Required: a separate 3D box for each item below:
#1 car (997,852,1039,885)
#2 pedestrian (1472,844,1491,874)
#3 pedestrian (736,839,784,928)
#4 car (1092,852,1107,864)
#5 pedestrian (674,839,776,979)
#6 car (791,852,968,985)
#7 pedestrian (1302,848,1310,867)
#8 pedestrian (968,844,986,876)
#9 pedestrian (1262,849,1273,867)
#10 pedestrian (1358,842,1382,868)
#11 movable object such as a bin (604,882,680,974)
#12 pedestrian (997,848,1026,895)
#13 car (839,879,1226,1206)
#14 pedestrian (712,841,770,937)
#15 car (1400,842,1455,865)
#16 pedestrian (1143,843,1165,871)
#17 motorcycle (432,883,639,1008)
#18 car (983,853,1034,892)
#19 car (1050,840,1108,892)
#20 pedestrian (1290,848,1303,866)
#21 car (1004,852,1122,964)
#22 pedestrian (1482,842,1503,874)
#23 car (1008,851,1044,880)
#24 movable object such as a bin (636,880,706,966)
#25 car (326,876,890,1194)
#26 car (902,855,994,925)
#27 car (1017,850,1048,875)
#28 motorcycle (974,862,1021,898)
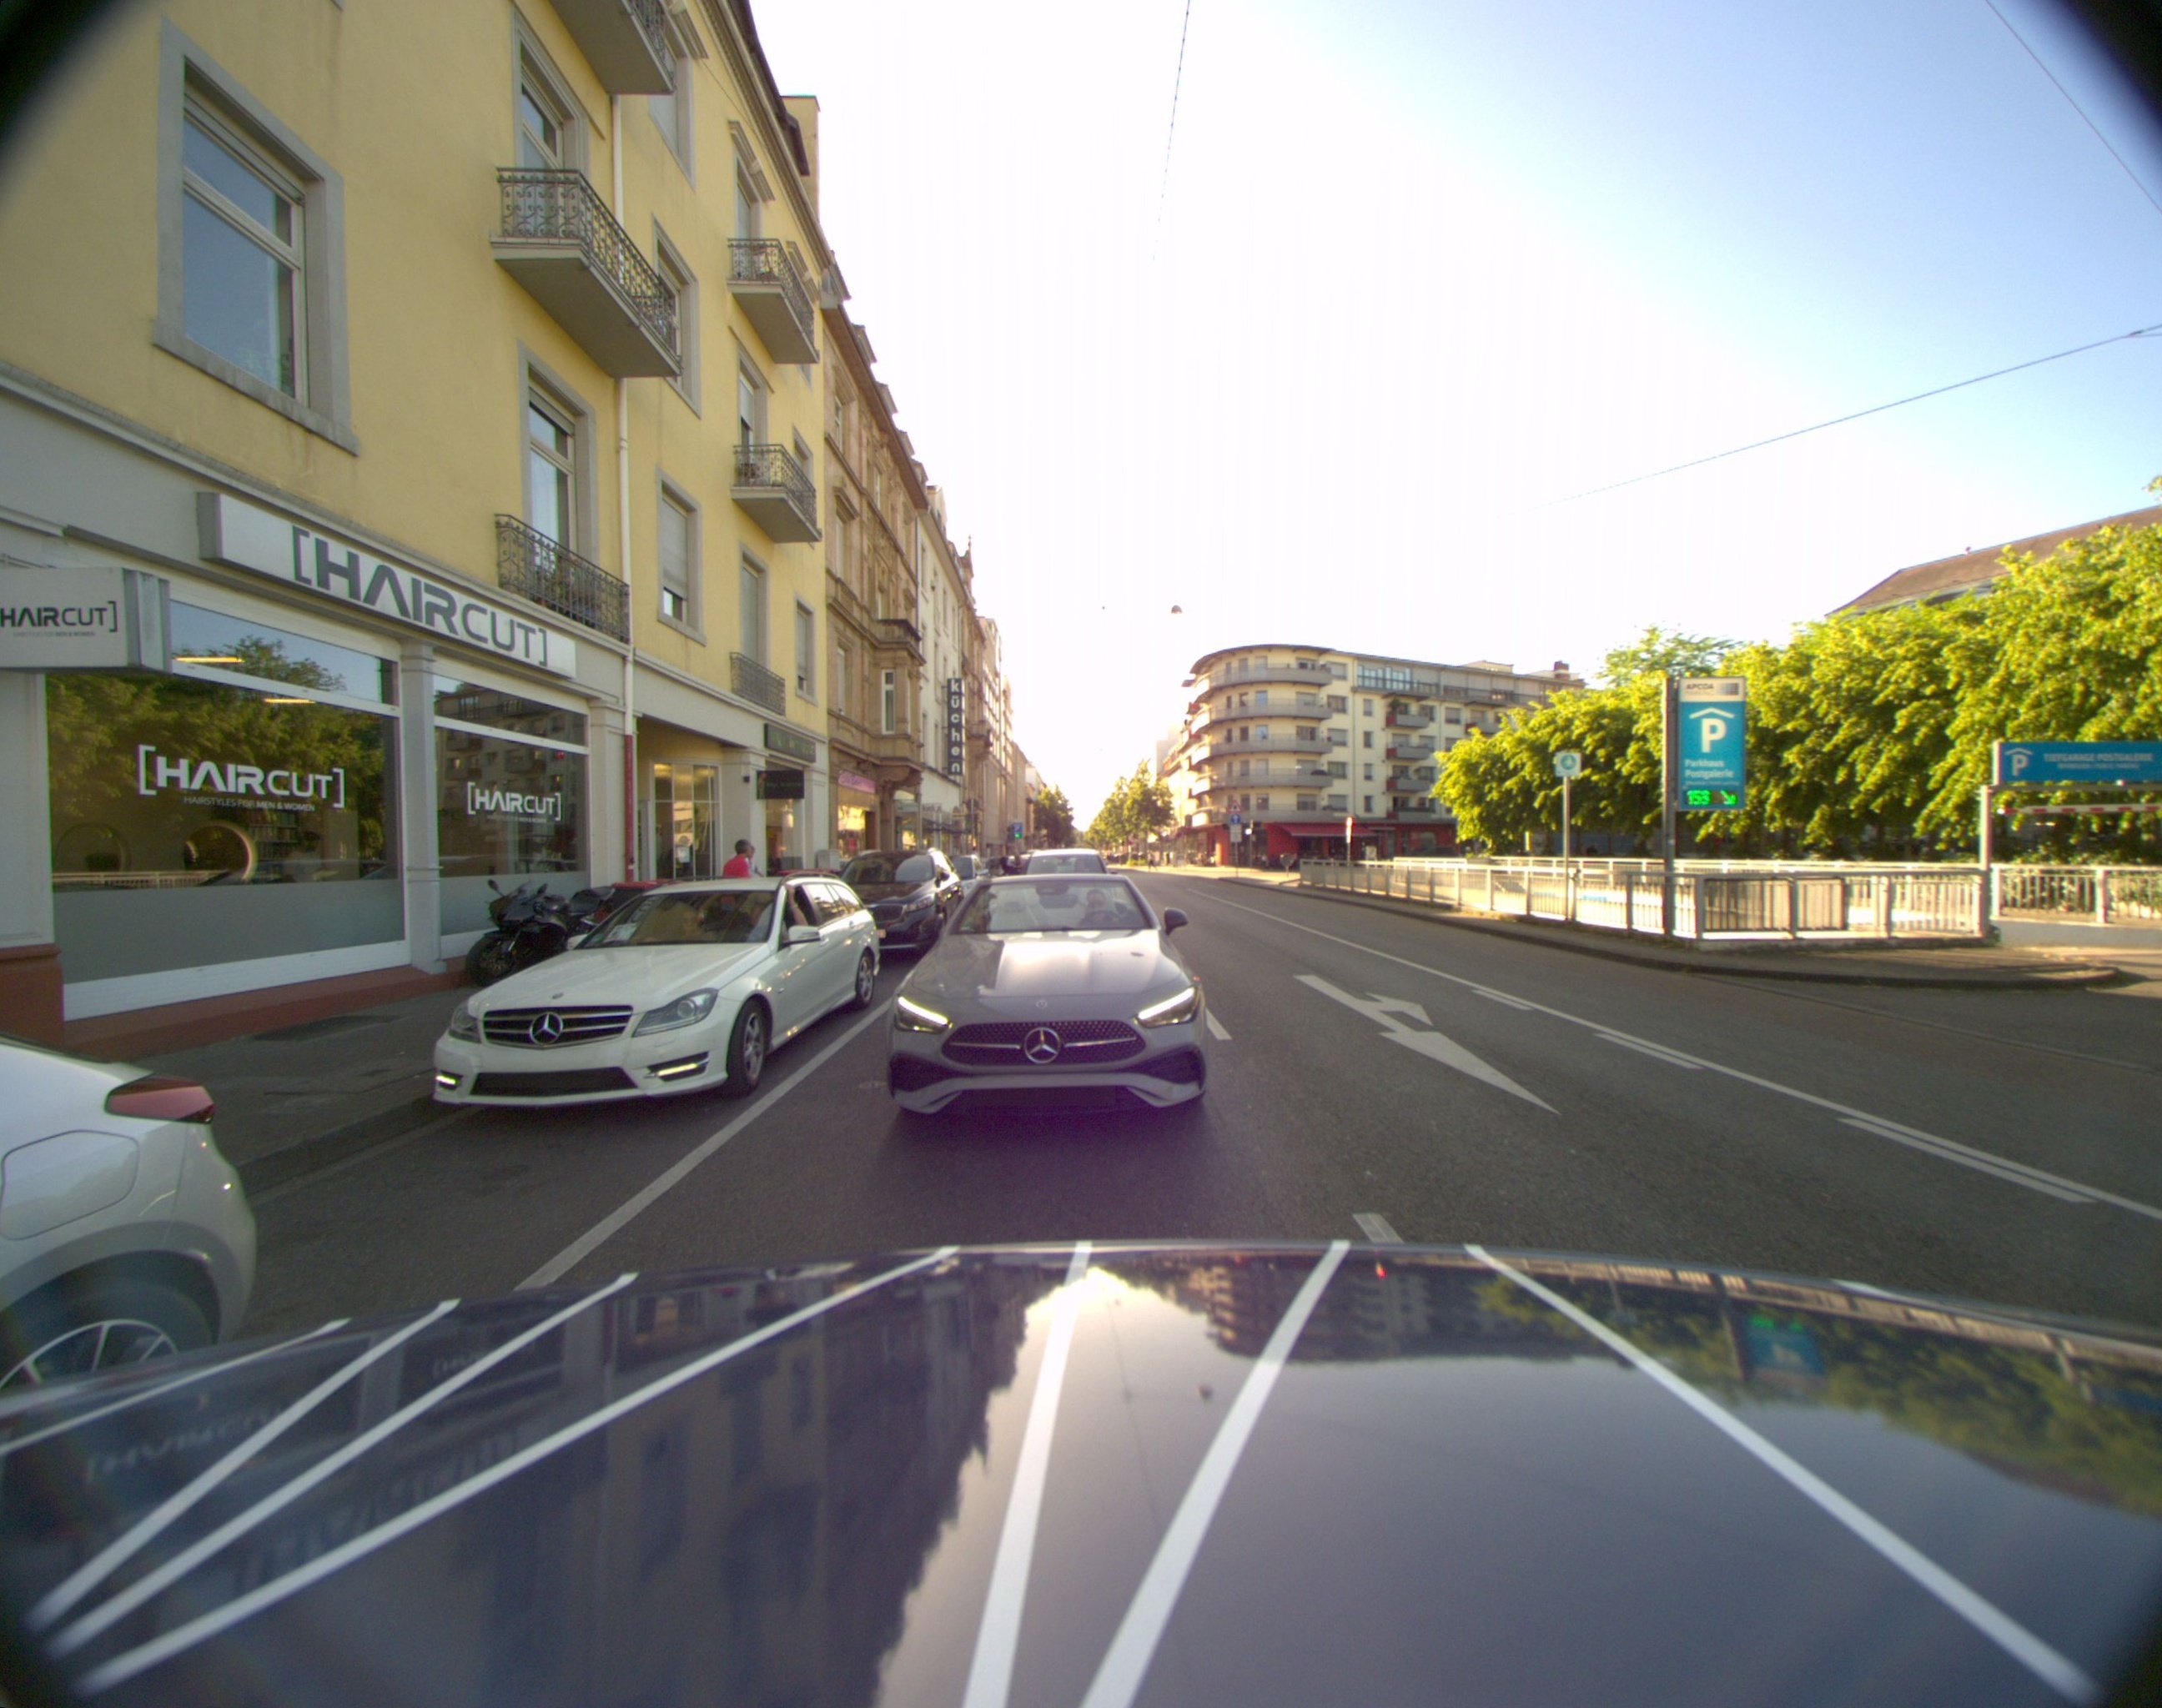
[{"bbox_3d":[-3.055,0.683,37.561,1.715,1.477,3.999,-1,1,0],"label":"car"},{"bbox_3d":[23.366,0.286,44.324,0.674,1.696,0.699,-2,1,-7],"label":"pedestrian"},{"bbox_3d":[-6.011,0.541,14.258,0.572,1.607,0.643,-1,1,2],"label":"pedestrian"},{"bbox_3d":[2.456,0.524,101.151,1.802,1.426,4.250,-1,1,0],"label":"car"},{"bbox_3d":[-4.757,0.698,10.217,0.866,1.774,1.008,2,2,-3],"label":"pedestrian"},{"bbox_3d":[-2.988,0.841,12.357,1.858,1.688,4.696,-1,1,-4],"label":"car"},{"bbox_3d":[17.928,0.257,60.594,0.581,1.481,0.793,-1,1,13],"label":"pedestrian"},{"bbox_3d":[-5.346,0.283,39.020,0.795,1.607,0.763,-1,1,-1],"label":"pedestrian"},{"bbox_3d":[15.030,0.294,61.363,0.791,1.452,0.583,-1,1,10],"label":"pedestrian"},{"bbox_3d":[23.052,0.085,60.698,1.234,2.002,1.259,-2,1,-22],"label":"pedestrian"},{"bbox_3d":[-6.092,1.017,10.568,0.647,1.200,0.644,-1,1,1],"label":"movable object such as a bin"},{"bbox_3d":[-2.532,0.632,27.715,0.833,1.657,0.694,-1,1,13],"label":"pedestrian"},{"bbox_3d":[-0.257,0.992,5.853,1.849,1.371,4.255,-2,1,-1],"label":"car"},{"bbox_3d":[-5.880,0.583,13.164,0.642,1.607,0.701,-1,1,-1],"label":"pedestrian"},{"bbox_3d":[29.009,-0.041,63.553,4.004,1.740,1.996,-2,1,-23],"label":"car"},{"bbox_3d":[5.337,0.193,55.836,1.202,2.002,1.018,-1,1,-33],"label":"pedestrian"},{"bbox_3d":[-6.244,0.982,8.906,0.773,1.158,2.247,1,1,1],"label":"motorcycle"},{"bbox_3d":[-2.963,0.722,31.615,1.715,1.477,3.999,-1,1,0],"label":"car"},{"bbox_3d":[-0.037,0.404,28.235,1.952,1.742,4.000,-1,1,1],"label":"car"},{"bbox_3d":[17.666,0.230,62.248,0.583,1.453,0.790,-2,1,-37],"label":"pedestrian"},{"bbox_3d":[-0.237,0.795,13.261,1.716,1.599,4.000,-1,1,1],"label":"car"},{"bbox_3d":[24.073,0.236,44.444,0.755,1.795,0.756,-2,1,-15],"label":"pedestrian"},{"bbox_3d":[-2.990,0.619,42.079,1.715,1.477,3.999,-1,1,0],"label":"car"},{"bbox_3d":[-6.043,1.006,11.220,0.647,1.200,0.644,-1,1,1],"label":"movable object such as a bin"},{"bbox_3d":[-3.040,1.013,6.268,1.759,1.453,4.597,-1,1,-1],"label":"car"},{"bbox_3d":[-3.270,0.840,19.187,1.696,1.559,3.018,-1,1,1],"label":"car"},{"bbox_3d":[-3.037,0.527,48.673,1.715,1.477,4.062,-1,1,0],"label":"car"},{"bbox_3d":[-3.054,0.948,27.869,0.769,1.225,1.546,-1,1,42],"label":"motorcycle"}]
